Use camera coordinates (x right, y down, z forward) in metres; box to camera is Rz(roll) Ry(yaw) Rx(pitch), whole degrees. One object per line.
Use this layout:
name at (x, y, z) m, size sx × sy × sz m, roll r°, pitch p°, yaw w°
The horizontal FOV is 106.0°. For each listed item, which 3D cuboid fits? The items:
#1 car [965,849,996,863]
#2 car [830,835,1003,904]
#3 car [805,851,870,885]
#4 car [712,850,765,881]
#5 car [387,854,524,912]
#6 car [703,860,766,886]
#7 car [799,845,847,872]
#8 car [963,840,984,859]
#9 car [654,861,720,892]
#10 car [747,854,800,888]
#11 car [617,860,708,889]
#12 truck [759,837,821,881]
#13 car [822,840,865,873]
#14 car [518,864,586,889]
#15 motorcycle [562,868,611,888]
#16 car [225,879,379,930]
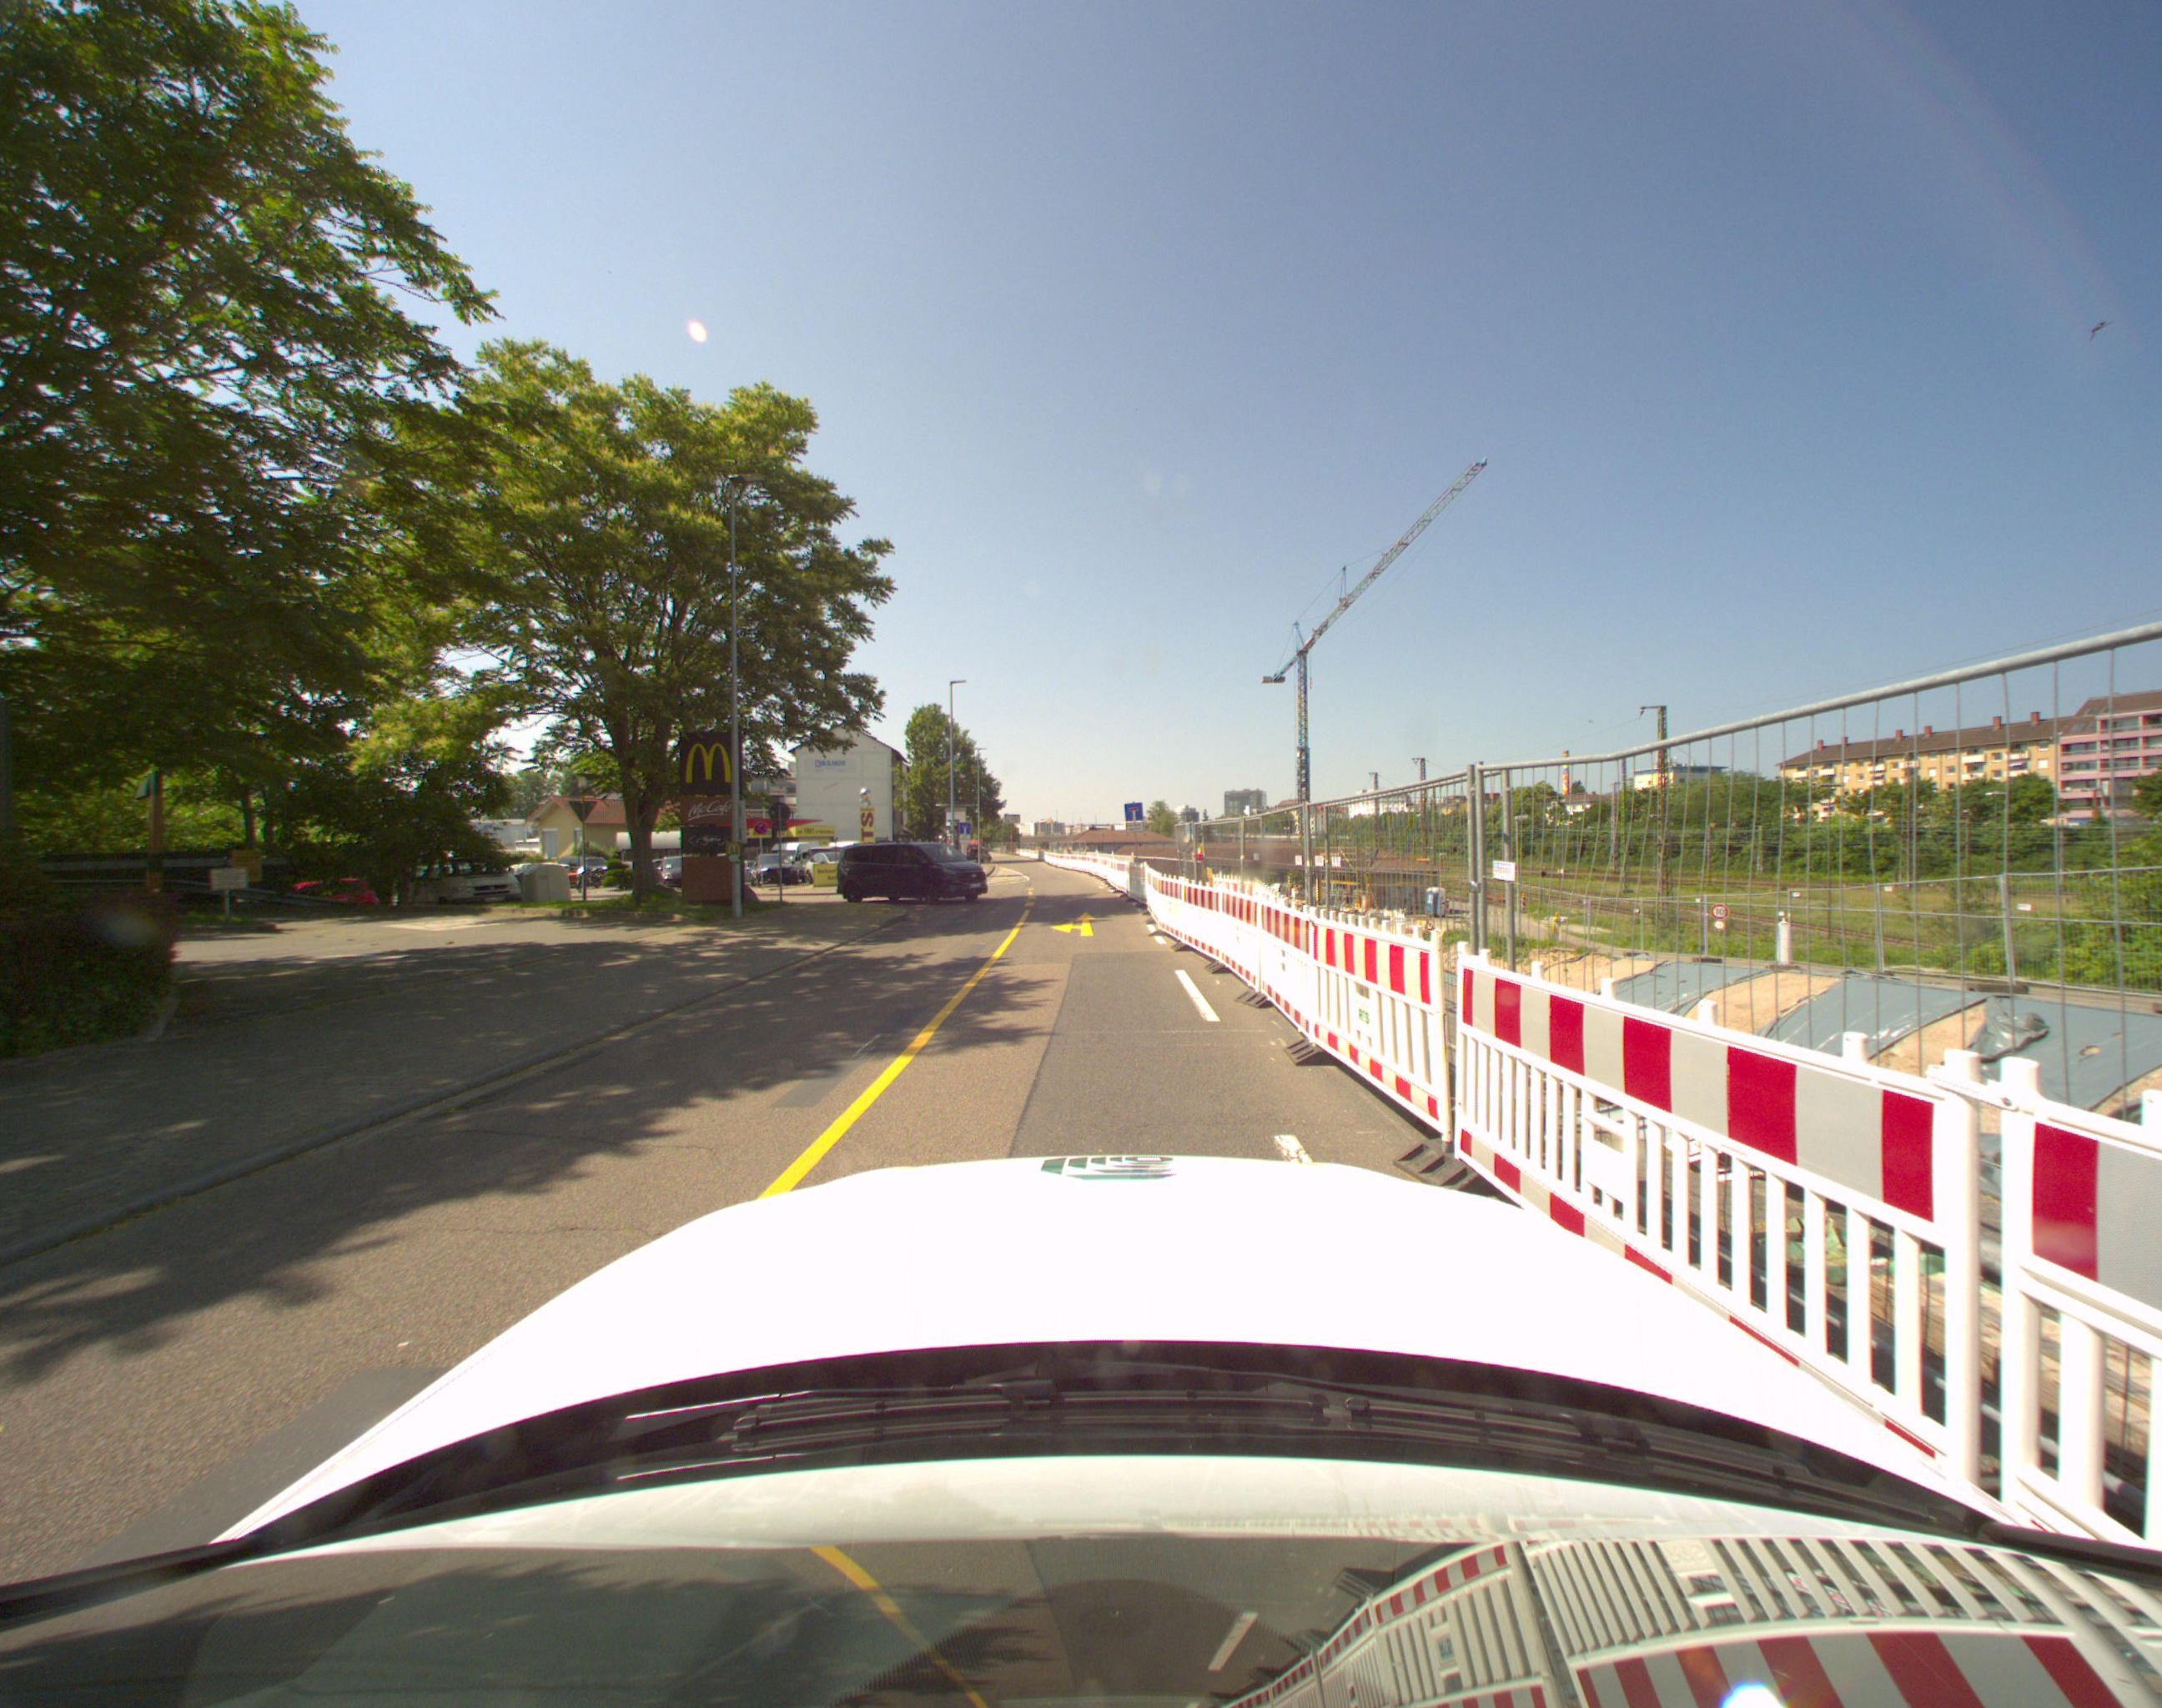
car at (-12.020, 0.251, 97.593) m, size 1.705 × 1.637 × 3.300 m, roll -1°, pitch -1°, yaw 44°
car at (-5.377, 0.524, 26.290) m, size 5.373 × 1.968 × 2.198 m, roll -3°, pitch 1°, yaw 33°
car at (-13.134, 0.731, 43.737) m, size 2.010 × 1.725 × 3.954 m, roll 0°, pitch -1°, yaw -39°
car at (-23.494, 0.780, 56.064) m, size 1.990 × 2.014 × 4.489 m, roll 0°, pitch -1°, yaw -4°
car at (-19.249, 0.819, 24.996) m, size 4.966 × 1.583 × 1.970 m, roll 0°, pitch 0°, yaw 36°
car at (-20.377, 1.089, 48.093) m, size 1.780 × 1.487 × 4.004 m, roll 0°, pitch 0°, yaw 4°
car at (-17.225, 0.298, 54.588) m, size 1.873 × 1.738 × 4.717 m, roll 0°, pitch 0°, yaw -3°
car at (-14.661, -0.608, 111.388) m, size 2.533 × 2.520 × 5.110 m, roll 0°, pitch -1°, yaw -4°
car at (-20.335, 1.134, 42.200) m, size 1.785 × 1.510 × 3.992 m, roll 0°, pitch 0°, yaw -5°
car at (-15.825, 0.843, 41.777) m, size 2.058 × 1.594 × 4.384 m, roll 0°, pitch -1°, yaw -27°
car at (-24.416, 1.167, 47.571) m, size 4.358 × 1.585 × 1.976 m, roll 0°, pitch -1°, yaw -42°
truck at (-20.235, 0.338, 56.927) m, size 2.262 × 2.904 × 5.940 m, roll 0°, pitch 0°, yaw -1°
car at (-17.612, 0.181, 60.612) m, size 2.133 × 2.284 × 4.701 m, roll -1°, pitch 0°, yaw -6°
car at (-34.986, 1.484, 53.857) m, size 3.950 × 1.585 × 2.012 m, roll -1°, pitch -1°, yaw 26°
motorcycle at (-31.557, 1.518, 52.047) m, size 0.988 × 1.227 × 2.731 m, roll -1°, pitch -1°, yaw 17°
car at (-26.265, 1.656, 27.572) m, size 1.468 × 1.378 × 3.435 m, roll 1°, pitch 2°, yaw 26°
